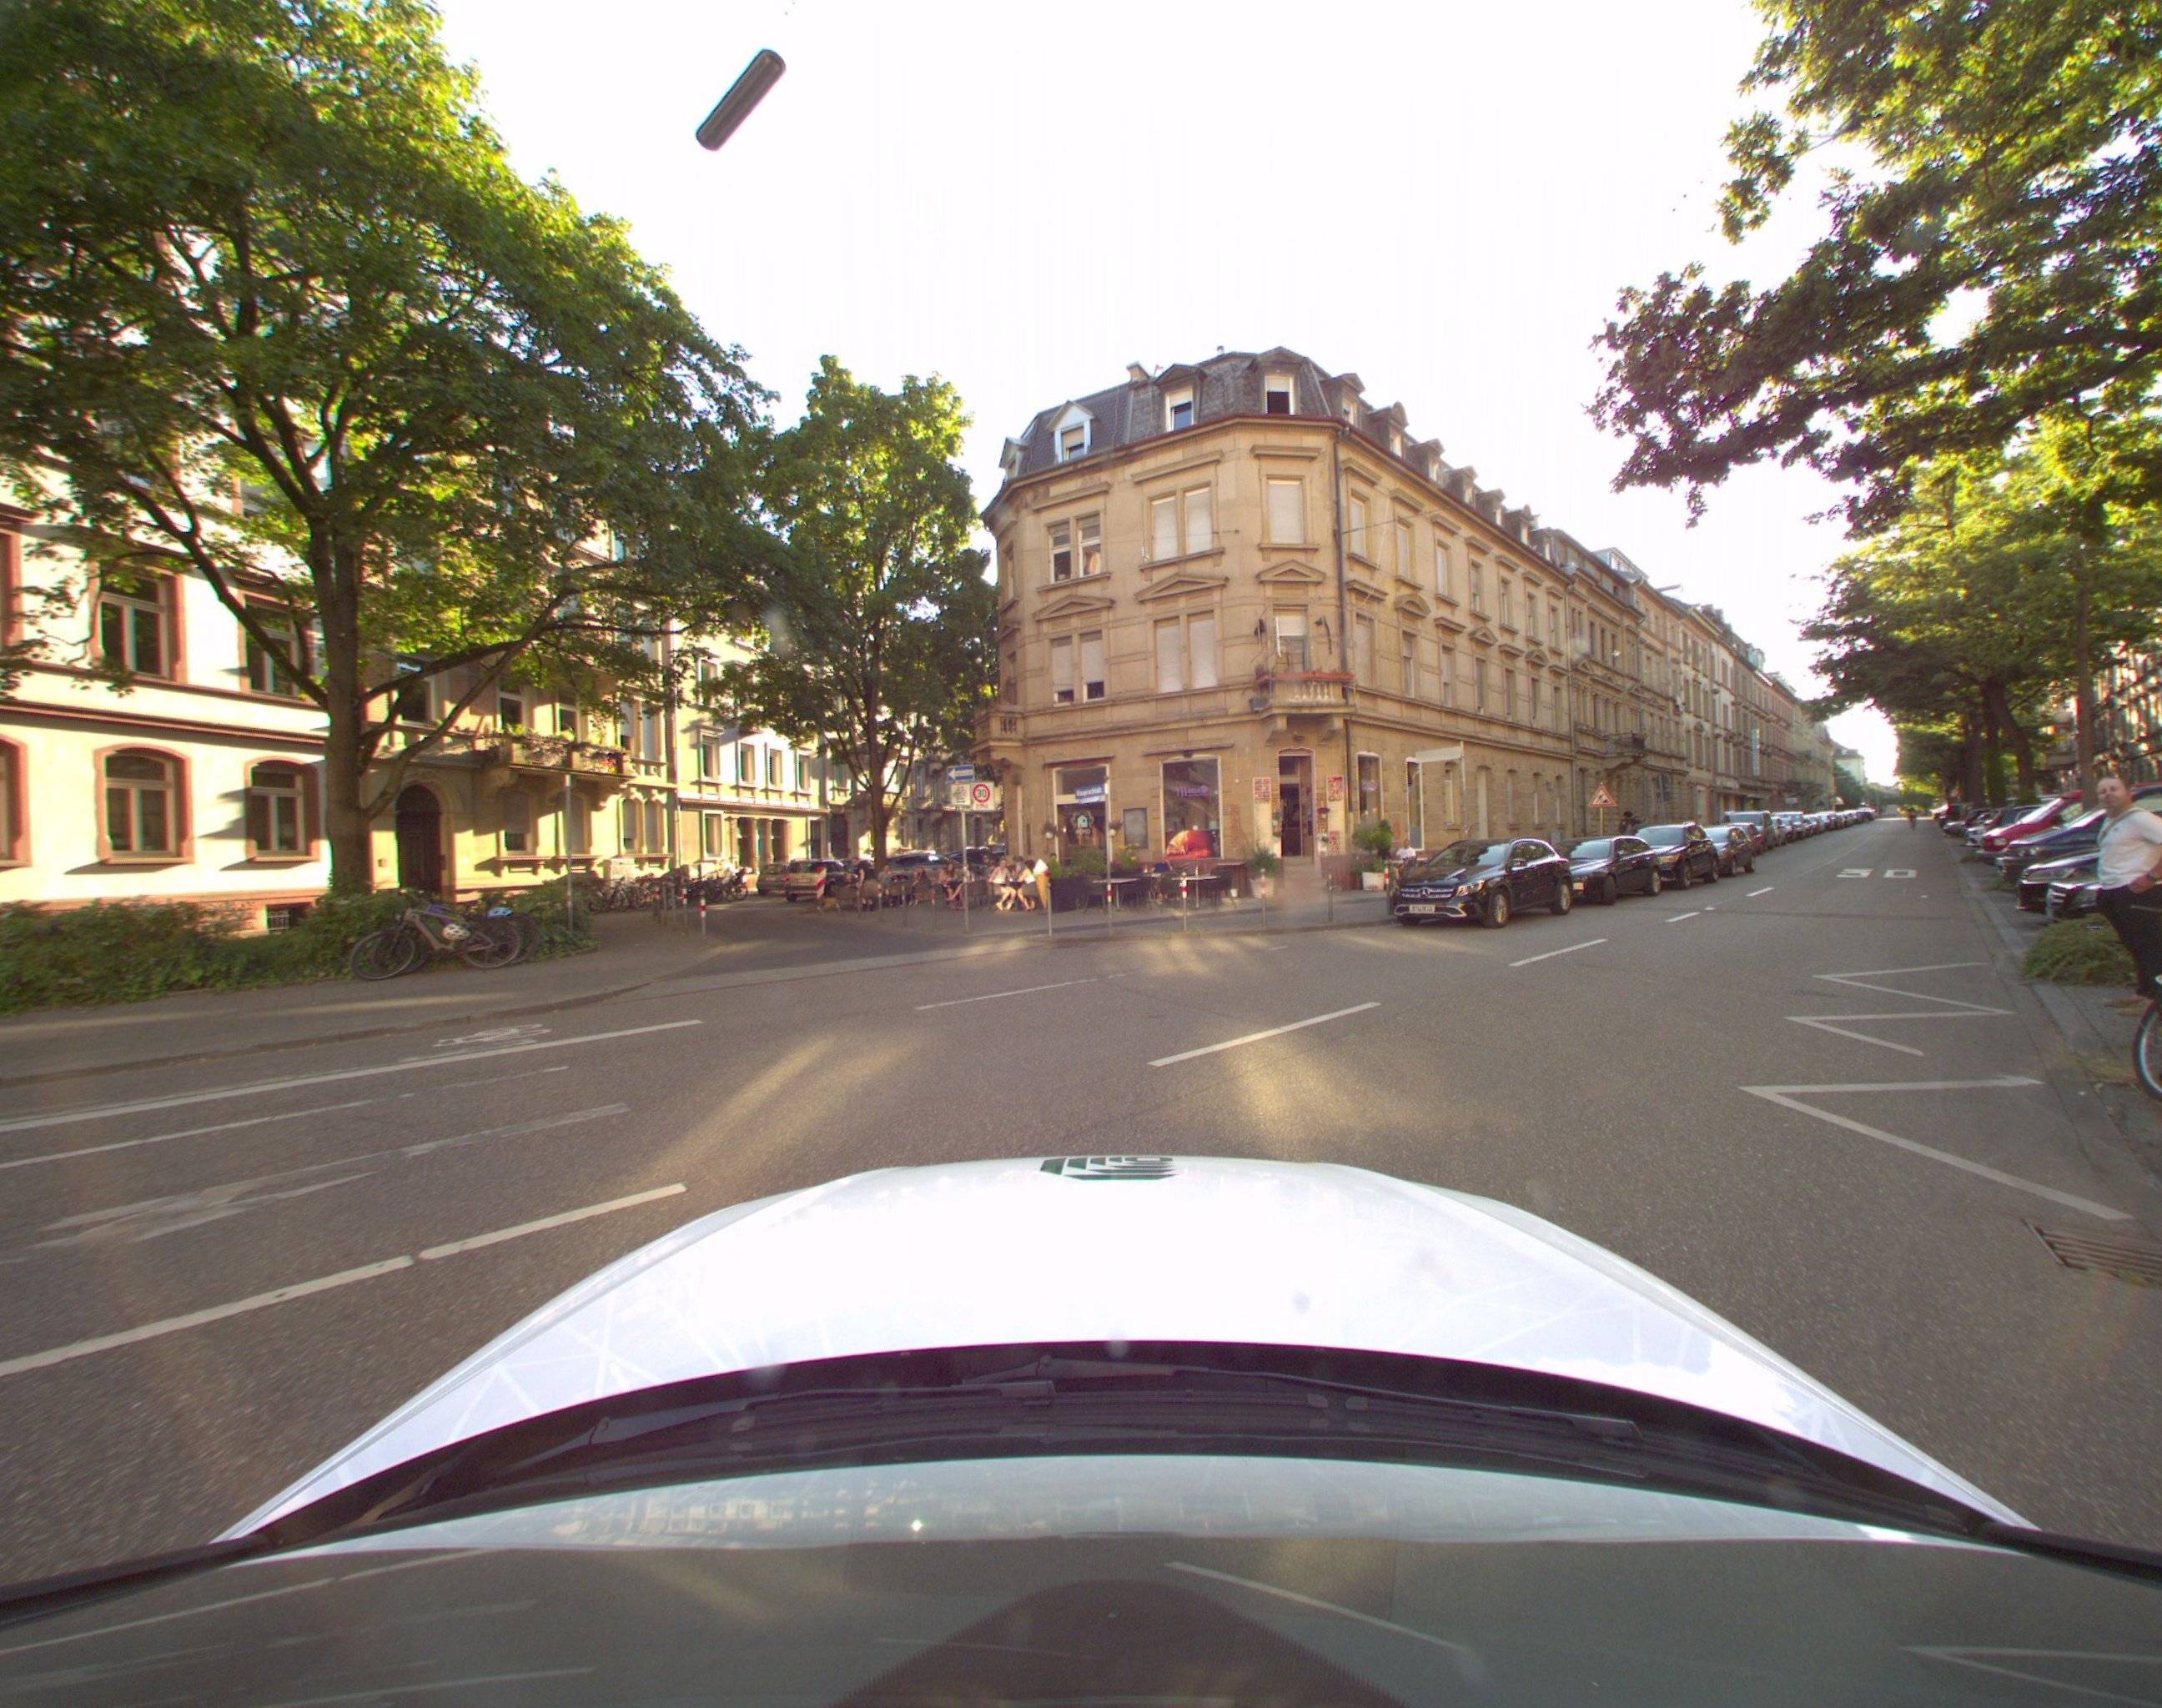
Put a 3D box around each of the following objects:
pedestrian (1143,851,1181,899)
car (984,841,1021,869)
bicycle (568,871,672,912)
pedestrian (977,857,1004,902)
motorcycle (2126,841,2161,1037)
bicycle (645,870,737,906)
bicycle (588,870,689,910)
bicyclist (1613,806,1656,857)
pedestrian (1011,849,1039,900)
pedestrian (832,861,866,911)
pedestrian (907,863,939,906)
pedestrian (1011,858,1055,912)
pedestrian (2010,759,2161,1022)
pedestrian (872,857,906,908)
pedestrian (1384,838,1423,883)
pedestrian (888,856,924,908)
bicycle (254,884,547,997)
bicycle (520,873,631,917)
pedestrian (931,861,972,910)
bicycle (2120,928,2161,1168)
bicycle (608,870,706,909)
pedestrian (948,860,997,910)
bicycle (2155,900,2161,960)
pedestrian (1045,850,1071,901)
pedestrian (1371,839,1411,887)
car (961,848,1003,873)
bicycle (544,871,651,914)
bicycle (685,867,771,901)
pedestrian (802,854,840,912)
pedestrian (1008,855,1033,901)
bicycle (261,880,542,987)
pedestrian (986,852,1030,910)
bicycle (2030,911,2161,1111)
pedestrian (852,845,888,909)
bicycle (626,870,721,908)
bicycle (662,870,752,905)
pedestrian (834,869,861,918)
[{"bbox_3d":[2.142,0.537,21.430,0.718,1.213,0.761,-2,0,28],"label":"pedestrian"},{"bbox_3d":[-6.195,0.070,64.754,1.794,2.085,3.765,-2,0,13],"label":"car"},{"bbox_3d":[-14.736,1.189,26.019,3.106,1.180,0.754,-2,0,12],"label":"bicycle"},{"bbox_3d":[-2.594,0.715,23.380,0.476,1.248,0.513,-2,1,44],"label":"pedestrian"},{"bbox_3d":[7.754,0.487,4.771,0.690,1.234,1.880,-2,-2,-43],"label":"motorcycle"},{"bbox_3d":[-13.980,1.222,29.222,3.106,1.180,0.754,-2,0,12],"label":"bicycle"},{"bbox_3d":[-14.551,1.195,26.791,3.106,1.180,0.754,-2,0,12],"label":"bicycle"},{"bbox_3d":[20.159,-0.832,29.641,1.214,1.789,0.987,-3,1,-43],"label":"bicyclist"},{"bbox_3d":[-1.618,0.600,23.546,0.562,1.431,0.485,-2,1,36],"label":"pedestrian"},{"bbox_3d":[-6.814,0.930,23.909,0.769,1.412,0.662,-3,-1,-29],"label":"pedestrian"},{"bbox_3d":[-4.734,0.912,24.447,0.680,1.215,0.661,-3,-1,-33],"label":"pedestrian"},{"bbox_3d":[-1.179,0.755,20.170,0.736,1.289,0.747,-2,0,37],"label":"pedestrian"},{"bbox_3d":[8.040,0.257,6.258,0.847,1.898,1.104,-2,0,-43],"label":"pedestrian"},{"bbox_3d":[-5.759,0.851,24.443,0.770,1.441,0.661,-3,-1,-31],"label":"pedestrian"},{"bbox_3d":[8.994,0.175,22.722,0.718,1.213,0.761,-2,0,45],"label":"pedestrian"},{"bbox_3d":[-5.089,0.820,23.631,0.770,1.441,0.661,-3,-1,-31],"label":"pedestrian"},{"bbox_3d":[-9.079,1.100,11.078,2.974,1.196,0.541,-3,0,-39],"label":"bicycle"},{"bbox_3d":[-15.106,1.213,24.359,3.106,1.180,0.754,-2,0,12],"label":"bicycle"},{"bbox_3d":[-3.503,0.848,22.015,0.698,1.248,0.754,-2,1,44],"label":"pedestrian"},{"bbox_3d":[5.273,0.745,2.868,1.912,0.988,0.499,-5,-2,25],"label":"bicycle"},{"bbox_3d":[-14.379,1.205,27.608,3.106,1.180,0.754,-2,0,12],"label":"bicycle"},{"bbox_3d":[-2.853,0.809,21.395,1.012,1.248,0.754,-2,1,44],"label":"pedestrian"},{"bbox_3d":[7.367,0.692,4.328,0.356,0.927,1.912,-2,-3,-44],"label":"bicycle"},{"bbox_3d":[-0.631,0.583,22.331,0.476,1.367,0.436,-2,1,38],"label":"pedestrian"},{"bbox_3d":[8.287,0.242,21.782,0.718,1.259,0.761,-2,0,45],"label":"pedestrian"},{"bbox_3d":[-7.221,0.435,59.549,1.794,1.684,3.765,-2,0,13],"label":"car"},{"bbox_3d":[-14.941,1.188,25.191,3.106,1.180,0.754,-2,0,12],"label":"bicycle"},{"bbox_3d":[-13.510,1.156,31.162,3.106,1.180,0.754,-2,0,12],"label":"bicycle"},{"bbox_3d":[-7.812,0.869,24.483,0.771,1.669,0.660,-3,-1,-45],"label":"pedestrian"},{"bbox_3d":[-1.684,0.678,22.742,0.476,1.248,0.436,-2,1,44],"label":"pedestrian"},{"bbox_3d":[-9.454,1.052,11.533,2.974,1.196,0.541,-3,0,-39],"label":"bicycle"},{"bbox_3d":[-1.853,0.687,20.652,0.747,1.411,0.732,-2,0,35],"label":"pedestrian"},{"bbox_3d":[6.003,0.809,4.483,1.410,0.927,0.353,-3,-2,-14],"label":"bicycle"},{"bbox_3d":[-5.974,0.650,23.101,0.770,1.770,0.566,-3,-1,-31],"label":"pedestrian"},{"bbox_3d":[-14.215,1.214,28.405,3.106,1.180,0.754,-2,0,12],"label":"bicycle"},{"bbox_3d":[-13.804,1.232,30.052,3.106,1.180,0.754,-2,0,12],"label":"bicycle"},{"bbox_3d":[-6.642,1.112,23.162,0.574,1.320,0.500,-3,1,-33],"label":"pedestrian"}]
